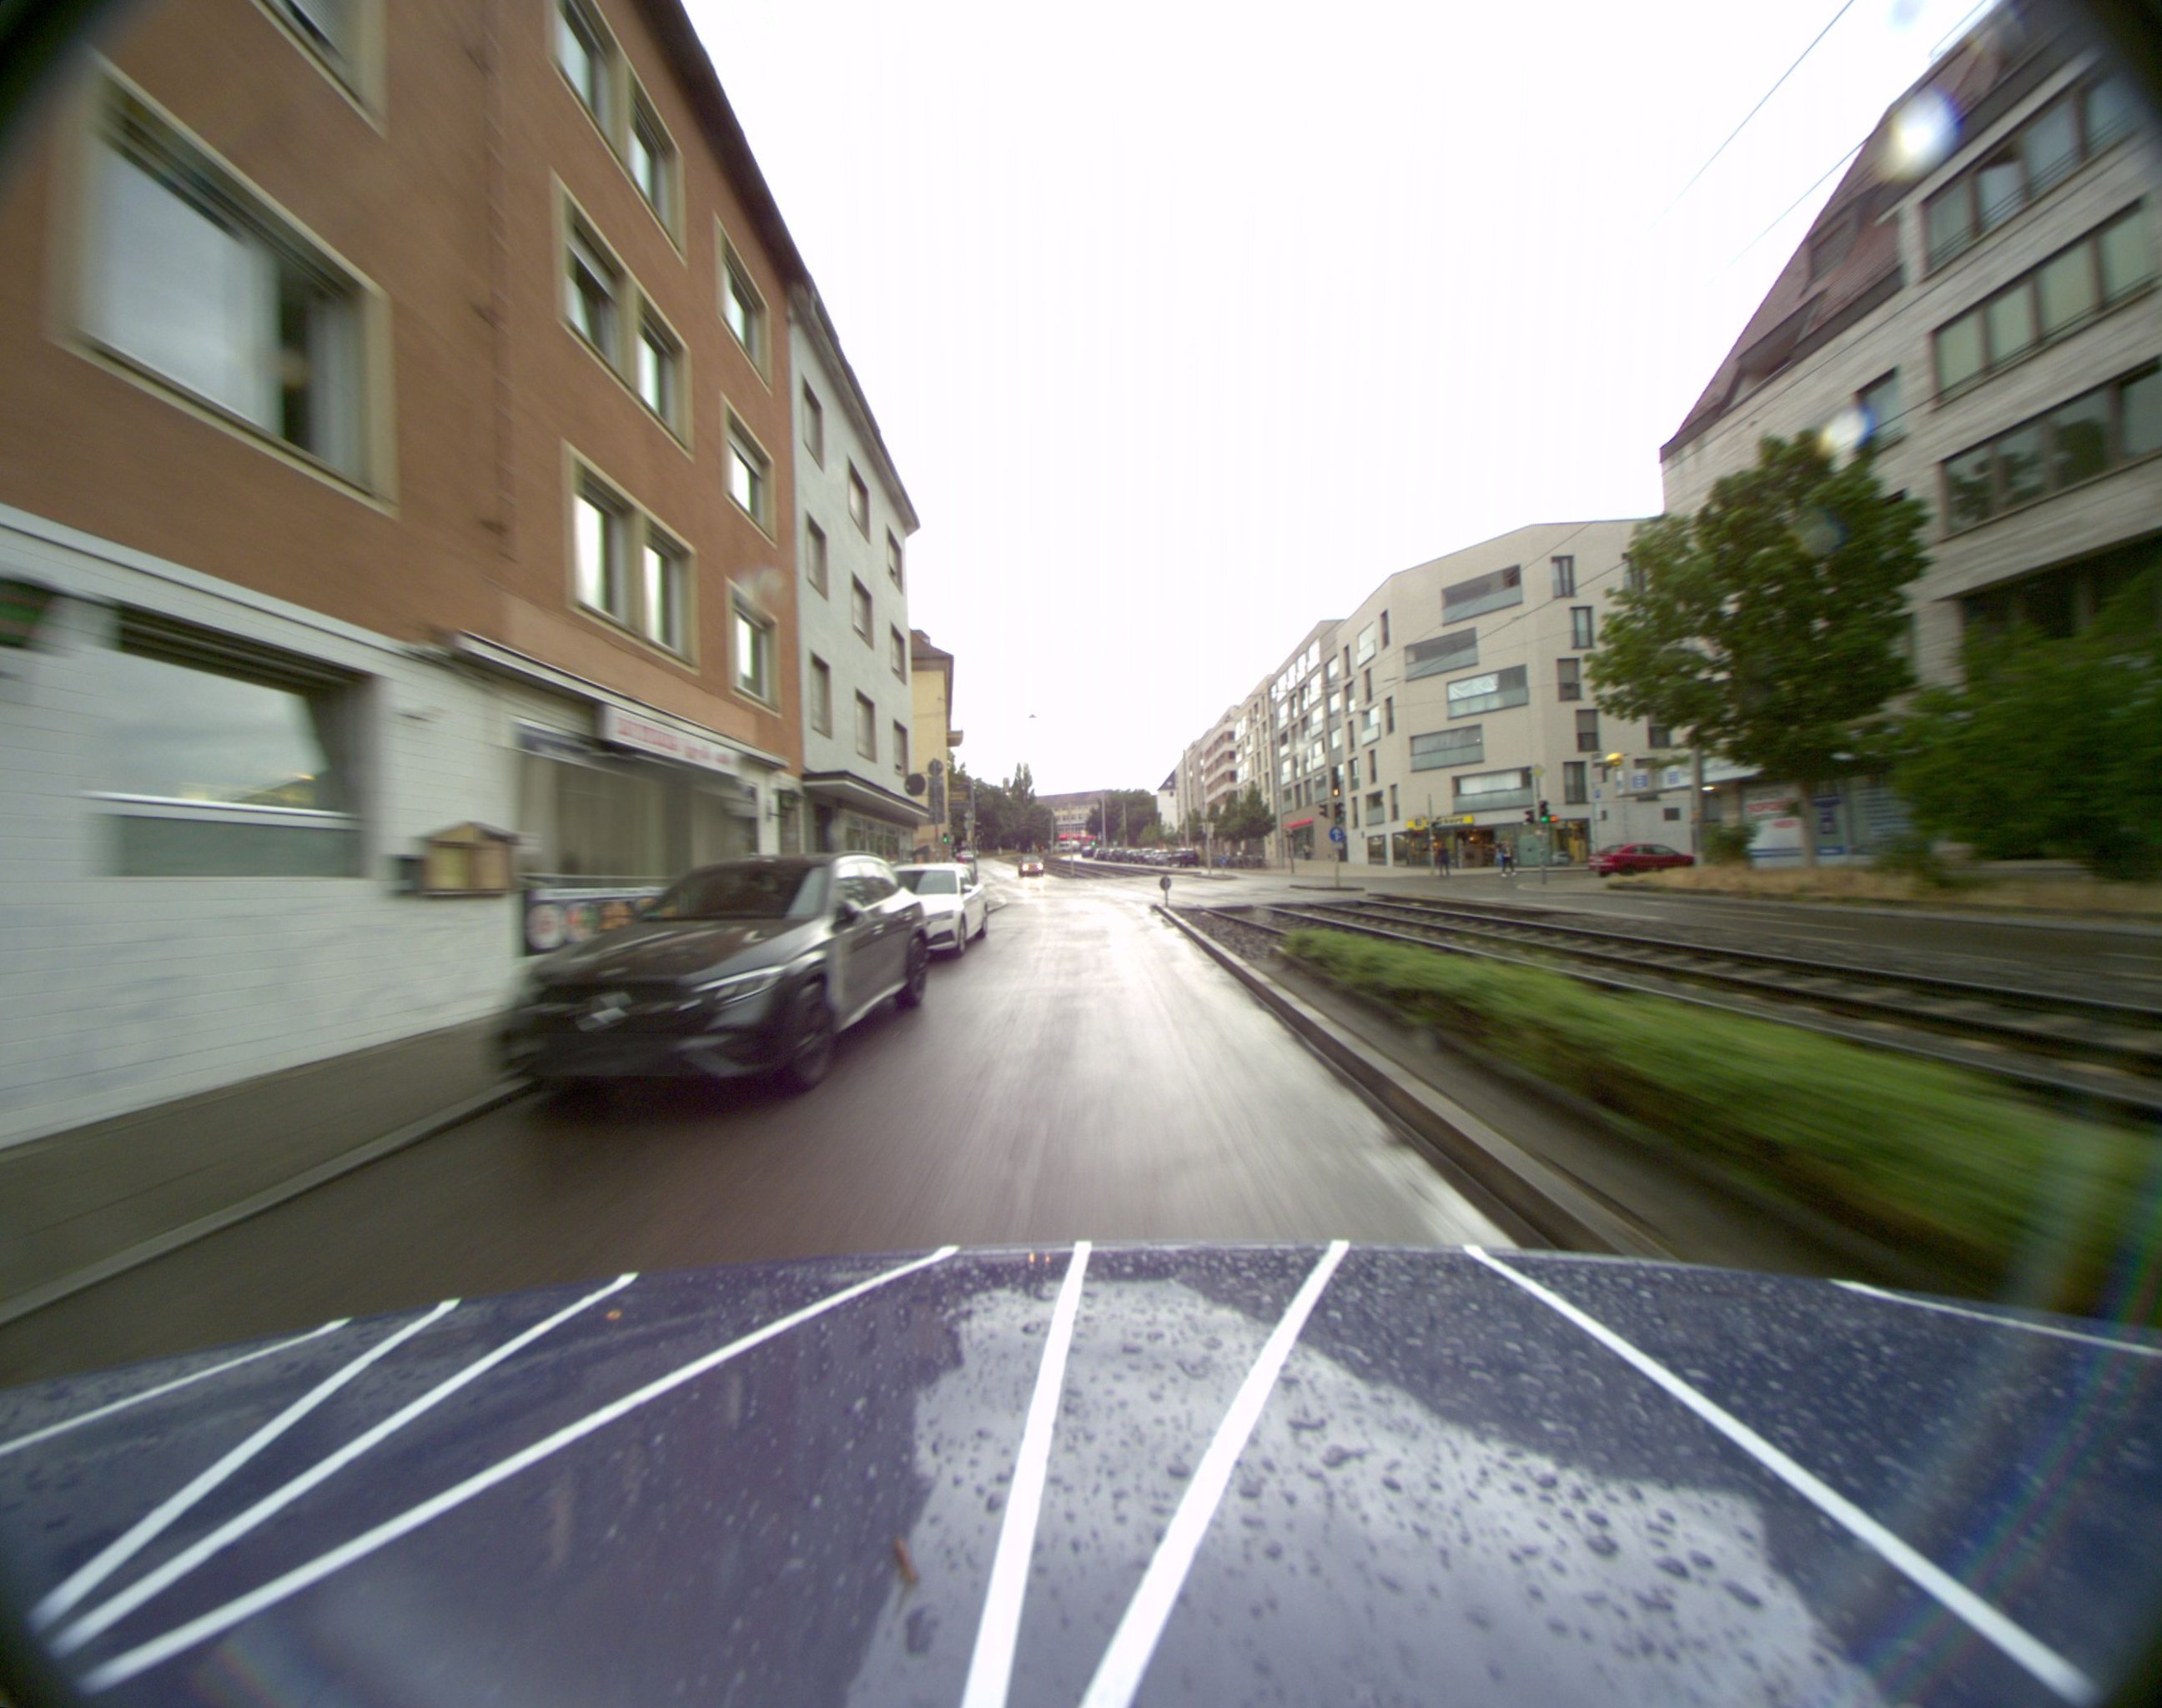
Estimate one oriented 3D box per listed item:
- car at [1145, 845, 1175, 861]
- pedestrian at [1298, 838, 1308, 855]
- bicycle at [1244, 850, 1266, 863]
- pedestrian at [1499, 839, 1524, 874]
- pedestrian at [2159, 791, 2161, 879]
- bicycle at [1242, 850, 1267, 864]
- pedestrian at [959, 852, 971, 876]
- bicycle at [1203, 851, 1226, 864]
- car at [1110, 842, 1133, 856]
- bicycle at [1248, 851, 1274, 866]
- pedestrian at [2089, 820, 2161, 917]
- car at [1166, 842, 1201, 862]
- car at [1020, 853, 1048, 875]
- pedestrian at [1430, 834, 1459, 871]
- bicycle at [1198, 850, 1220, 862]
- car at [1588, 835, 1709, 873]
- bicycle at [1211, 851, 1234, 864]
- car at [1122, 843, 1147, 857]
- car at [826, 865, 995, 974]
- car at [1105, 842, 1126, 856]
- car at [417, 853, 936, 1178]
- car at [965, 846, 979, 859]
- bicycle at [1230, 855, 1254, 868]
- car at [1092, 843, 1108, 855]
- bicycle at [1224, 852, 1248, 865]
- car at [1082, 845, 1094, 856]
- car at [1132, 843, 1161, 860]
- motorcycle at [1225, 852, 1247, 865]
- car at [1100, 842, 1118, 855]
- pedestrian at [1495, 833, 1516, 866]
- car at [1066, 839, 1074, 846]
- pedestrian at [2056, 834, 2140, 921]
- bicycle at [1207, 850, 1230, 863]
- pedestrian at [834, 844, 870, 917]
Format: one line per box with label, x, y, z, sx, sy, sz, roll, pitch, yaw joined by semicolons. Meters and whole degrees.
car;7.649;-0.125;73.887;1.685;1.456;4.324;-4;2;-11
pedestrian;20.090;-0.686;68.756;0.540;1.441;0.802;-4;3;3
bicycle;13.250;0.191;57.793;1.791;0.912;0.386;-4;2;-28
pedestrian;20.094;0.106;35.478;0.649;1.560;0.775;-6;3;-37
pedestrian;19.681;-0.346;13.393;0.505;1.589;0.585;-5;3;-1
bicycle;13.026;0.227;56.984;1.789;0.871;0.387;-4;2;-12
pedestrian;-8.473;0.734;55.463;0.749;1.754;0.817;1;2;-11
bicycle;10.985;0.284;62.547;1.790;0.912;0.387;-3;2;-14
car;4.726;-0.594;88.303;1.685;1.555;3.924;-4;2;-11
bicycle;13.230;0.346;55.827;1.790;0.975;0.440;-4;3;-14
pedestrian;19.579;0.256;14.166;0.649;1.715;0.683;-4;3;-1
car;9.005;-0.217;67.079;1.685;1.595;4.324;-4;2;-11
car;-3.590;0.719;57.553;1.595;1.456;3.665;-5;2;-11
pedestrian;18.484;-0.098;38.664;0.933;1.819;0.958;-2;2;-8
bicycle;10.722;0.157;63.457;1.790;0.912;0.387;-3;2;-14
car;23.066;-0.018;30.966;3.702;1.310;1.593;-2;2;3
bicycle;11.287;0.283;60.696;1.790;0.912;0.387;-3;2;-14
car;5.823;-0.411;83.204;1.685;1.373;4.028;-4;2;-11
car;-2.710;0.971;13.195;1.806;1.447;4.586;-1;0;1
car;4.168;-0.625;92.636;1.685;1.496;3.924;-4;2;-11
car;-2.684;0.908;6.521;1.850;1.623;4.585;-2;2;1
car;-15.952;-0.185;111.439;1.727;1.676;3.861;-5;2;-11
bicycle;12.338;0.561;58.275;1.790;0.912;0.387;-3;2;-18
car;2.592;-0.703;102.878;1.651;1.496;3.778;-3;2;-4
bicycle;12.112;0.326;59.268;1.790;0.912;0.387;-4;2;-14
car;1.160;-0.531;121.616;1.655;1.456;3.668;-4;2;-1
car;6.764;-0.283;78.952;1.686;1.521;4.043;-4;2;-15
motorcycle;13.200;0.374;64.783;1.765;1.037;0.542;-2;3;-13
car;3.544;-0.773;97.680;1.685;1.496;4.401;-3;2;-5
pedestrian;22.755;-0.239;40.729;0.706;1.701;0.584;-4;2;-23
car;-2.893;-3.102;198.814;1.667;1.598;3.808;-4;2;5
pedestrian;18.915;0.417;14.145;0.649;1.540;0.683;-4;3;-1
bicycle;11.140;0.195;61.699;1.790;0.912;0.387;-3;2;-14
pedestrian;-5.052;0.575;16.800;0.690;1.562;0.762;0;-1;-11
